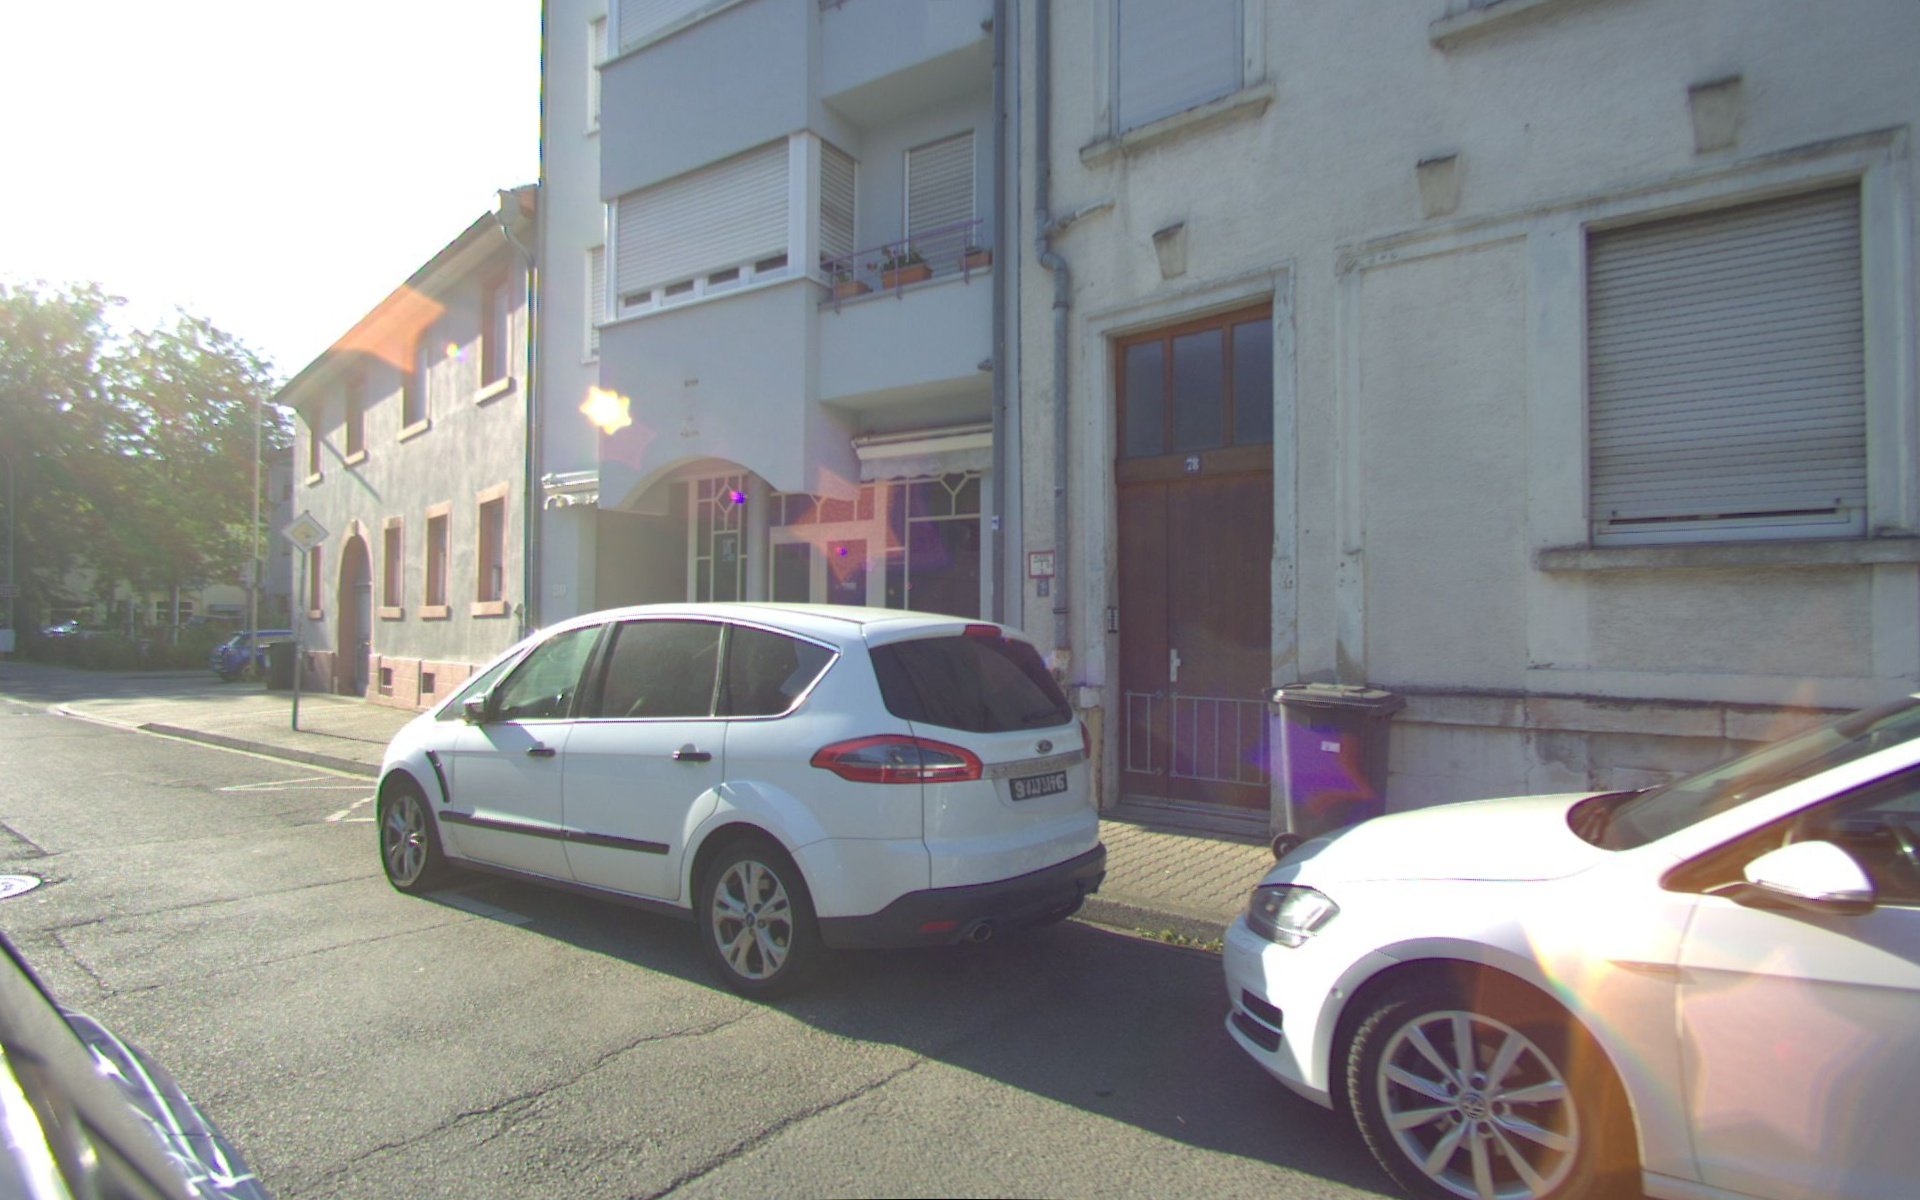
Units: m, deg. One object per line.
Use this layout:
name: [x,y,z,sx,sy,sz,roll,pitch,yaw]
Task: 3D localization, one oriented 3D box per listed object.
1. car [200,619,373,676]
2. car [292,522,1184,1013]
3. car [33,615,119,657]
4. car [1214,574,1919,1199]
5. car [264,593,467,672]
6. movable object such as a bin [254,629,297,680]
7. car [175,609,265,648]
car: [-19.507,1.390,29.414,1.997,1.542,3.731,-2,-4,38]
car: [-1.570,0.629,5.761,5.209,1.660,1.976,-1,-2,35]
car: [-41.700,1.700,47.708,4.892,1.909,1.828,-2,-2,33]
car: [2.899,0.710,2.415,4.118,1.507,1.749,0,-1,36]
car: [-16.178,0.847,27.716,1.985,1.808,4.321,-5,-1,39]
movable object such as a bin: [-15.345,1.206,22.688,0.750,1.102,0.593,-1,-1,38]
car: [-38.592,1.477,52.770,4.299,1.963,2.007,-1,-2,25]
